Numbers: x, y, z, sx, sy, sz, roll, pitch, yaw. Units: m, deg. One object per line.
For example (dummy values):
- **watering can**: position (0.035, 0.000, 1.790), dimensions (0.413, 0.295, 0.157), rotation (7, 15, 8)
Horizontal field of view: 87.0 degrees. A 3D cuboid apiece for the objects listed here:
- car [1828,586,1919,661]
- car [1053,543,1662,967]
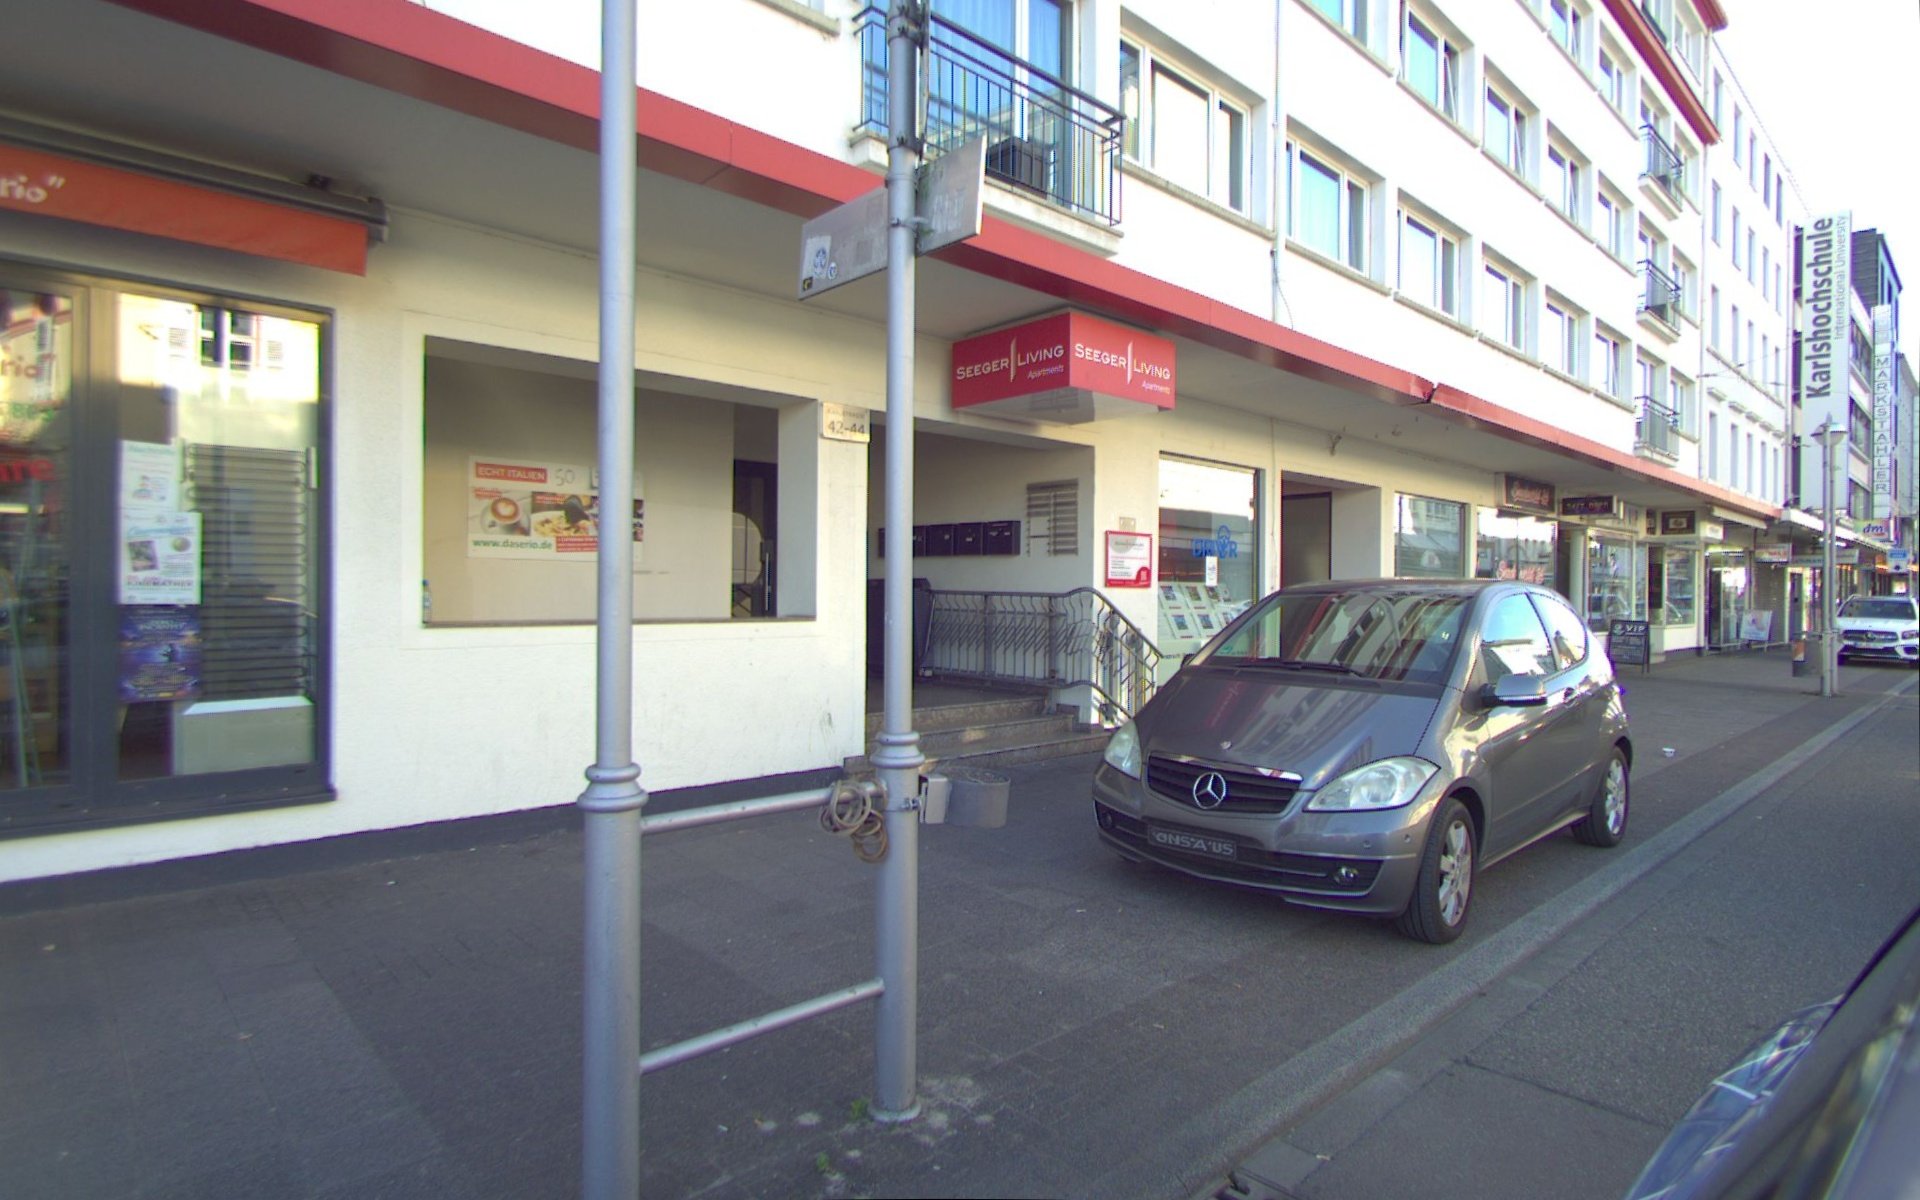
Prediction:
- **car**: position (22.384, 0.520, 24.348), dimensions (1.994, 1.650, 3.935), rotation (1, 1, 45)
- **car**: position (2.457, 0.574, 5.707), dimensions (3.932, 1.565, 1.681), rotation (0, 0, -43)
